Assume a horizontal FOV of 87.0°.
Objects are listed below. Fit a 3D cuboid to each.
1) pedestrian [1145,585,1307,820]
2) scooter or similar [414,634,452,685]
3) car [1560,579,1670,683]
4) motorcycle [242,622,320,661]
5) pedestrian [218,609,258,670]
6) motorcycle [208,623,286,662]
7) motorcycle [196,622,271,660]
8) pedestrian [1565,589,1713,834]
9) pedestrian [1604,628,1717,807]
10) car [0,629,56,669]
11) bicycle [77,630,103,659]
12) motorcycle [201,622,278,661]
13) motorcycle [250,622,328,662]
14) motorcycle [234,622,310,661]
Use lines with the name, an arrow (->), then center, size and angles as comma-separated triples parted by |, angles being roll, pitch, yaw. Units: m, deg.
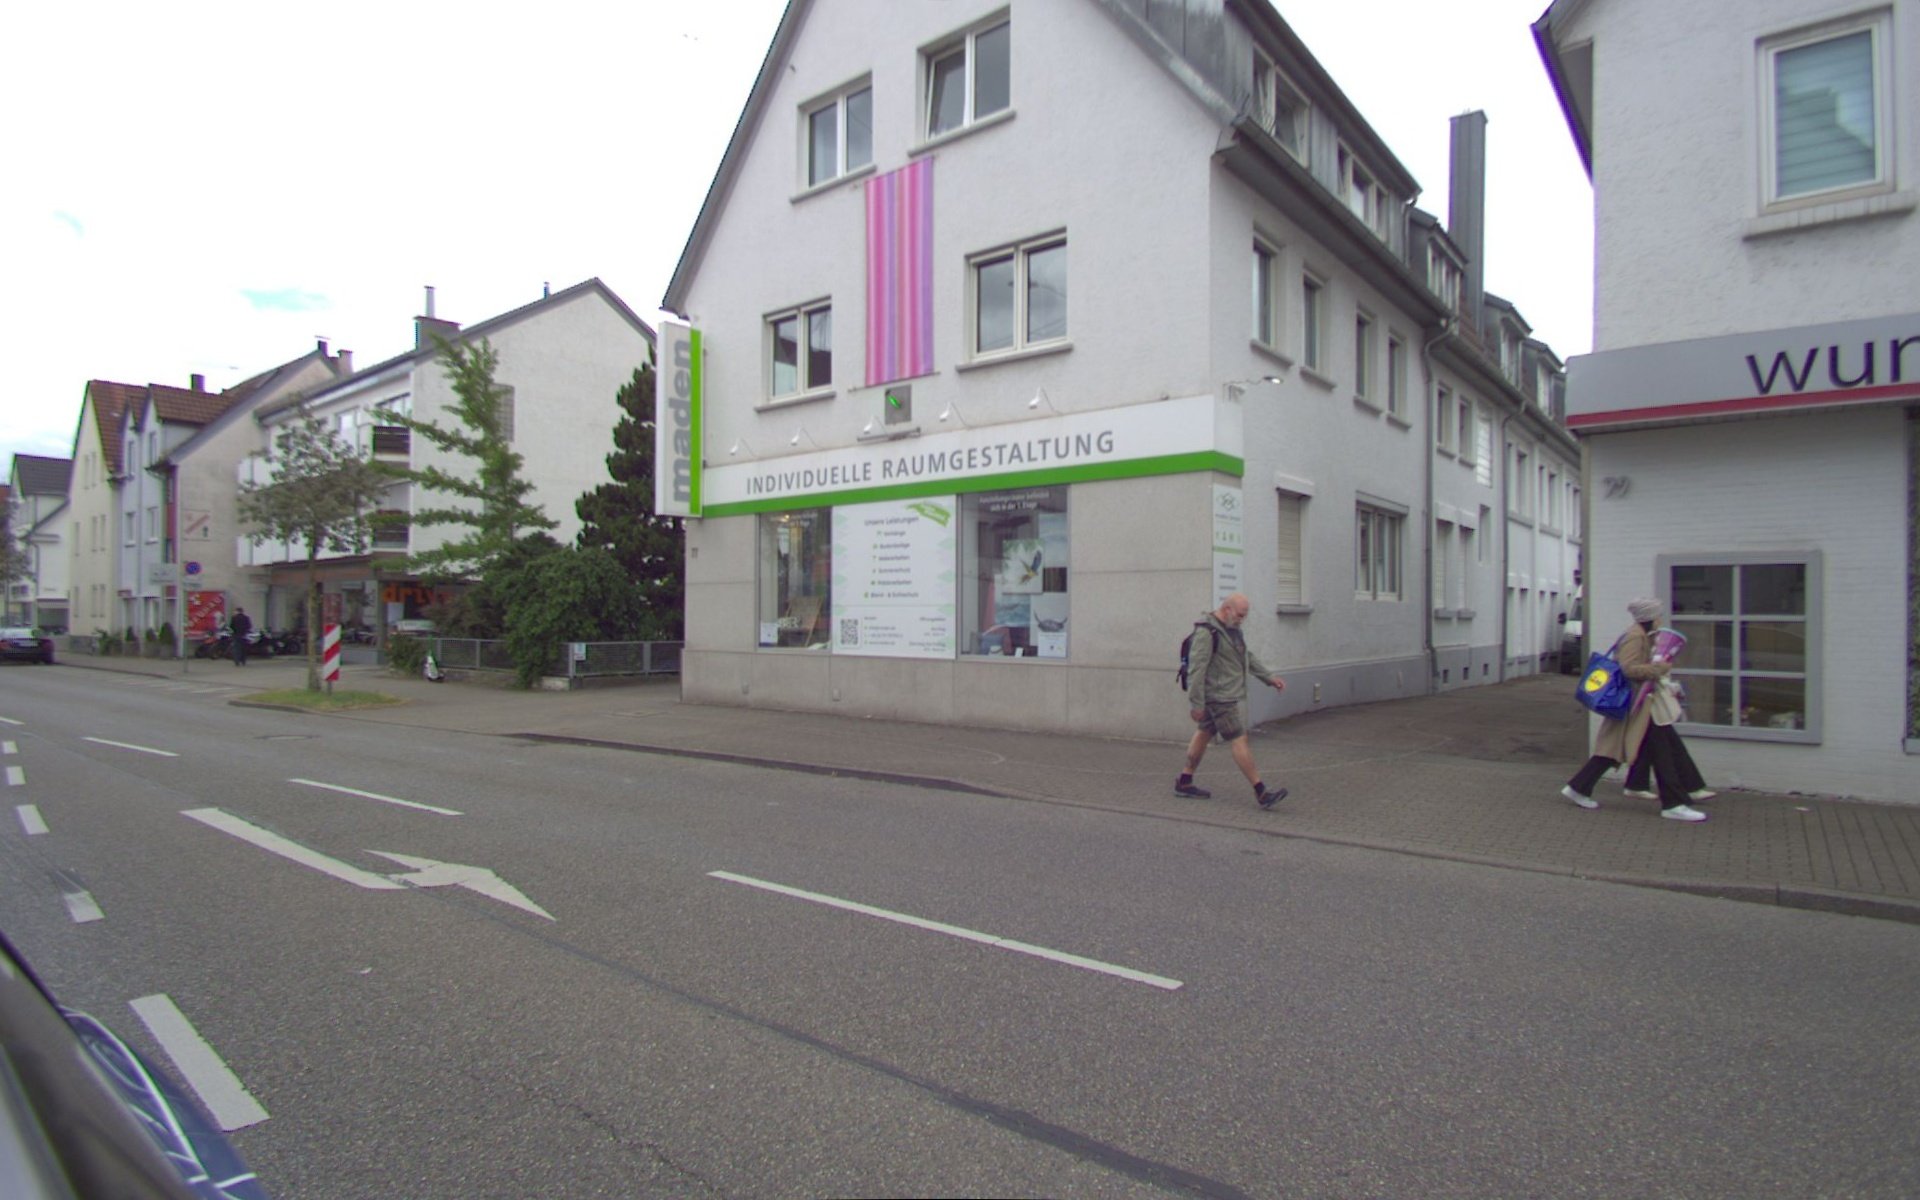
pedestrian -> 2.165, 0.778, 8.242 | 1.019, 1.756, 0.744 | -1, 1, 40
scooter or similar -> -12.003, 1.341, 23.041 | 1.179, 1.120, 0.336 | -1, -1, 41
car -> 18.155, 0.743, 27.915 | 1.957, 2.527, 5.918 | 2, 1, 38
motorcycle -> -24.519, 1.486, 36.582 | 0.612, 1.275, 2.204 | -1, 1, 38
pedestrian -> -22.962, 1.240, 32.177 | 1.019, 1.863, 0.744 | -1, 2, 40
motorcycle -> -26.123, 1.552, 37.092 | 0.698, 1.275, 2.204 | -1, 1, 38
motorcycle -> -27.306, 1.533, 38.078 | 0.612, 1.275, 2.204 | -1, 1, 38
pedestrian -> 4.942, 0.755, 7.363 | 0.792, 1.629, 0.744 | -1, 2, 40
pedestrian -> 5.460, 0.878, 7.889 | 0.654, 1.289, 0.593 | -1, 0, 40
car -> -36.123, 1.834, 38.622 | 4.337, 1.428, 1.770 | -1, -2, 39
bicycle -> -37.670, 1.903, 43.812 | 2.022, 1.205, 0.509 | -1, -1, 39
motorcycle -> -26.759, 1.523, 37.616 | 0.612, 1.275, 2.204 | -1, 1, 38
motorcycle -> -23.870, 1.486, 36.039 | 0.612, 1.275, 2.204 | -1, 1, 38
motorcycle -> -25.186, 1.499, 37.081 | 0.612, 1.275, 2.204 | -1, 1, 38
